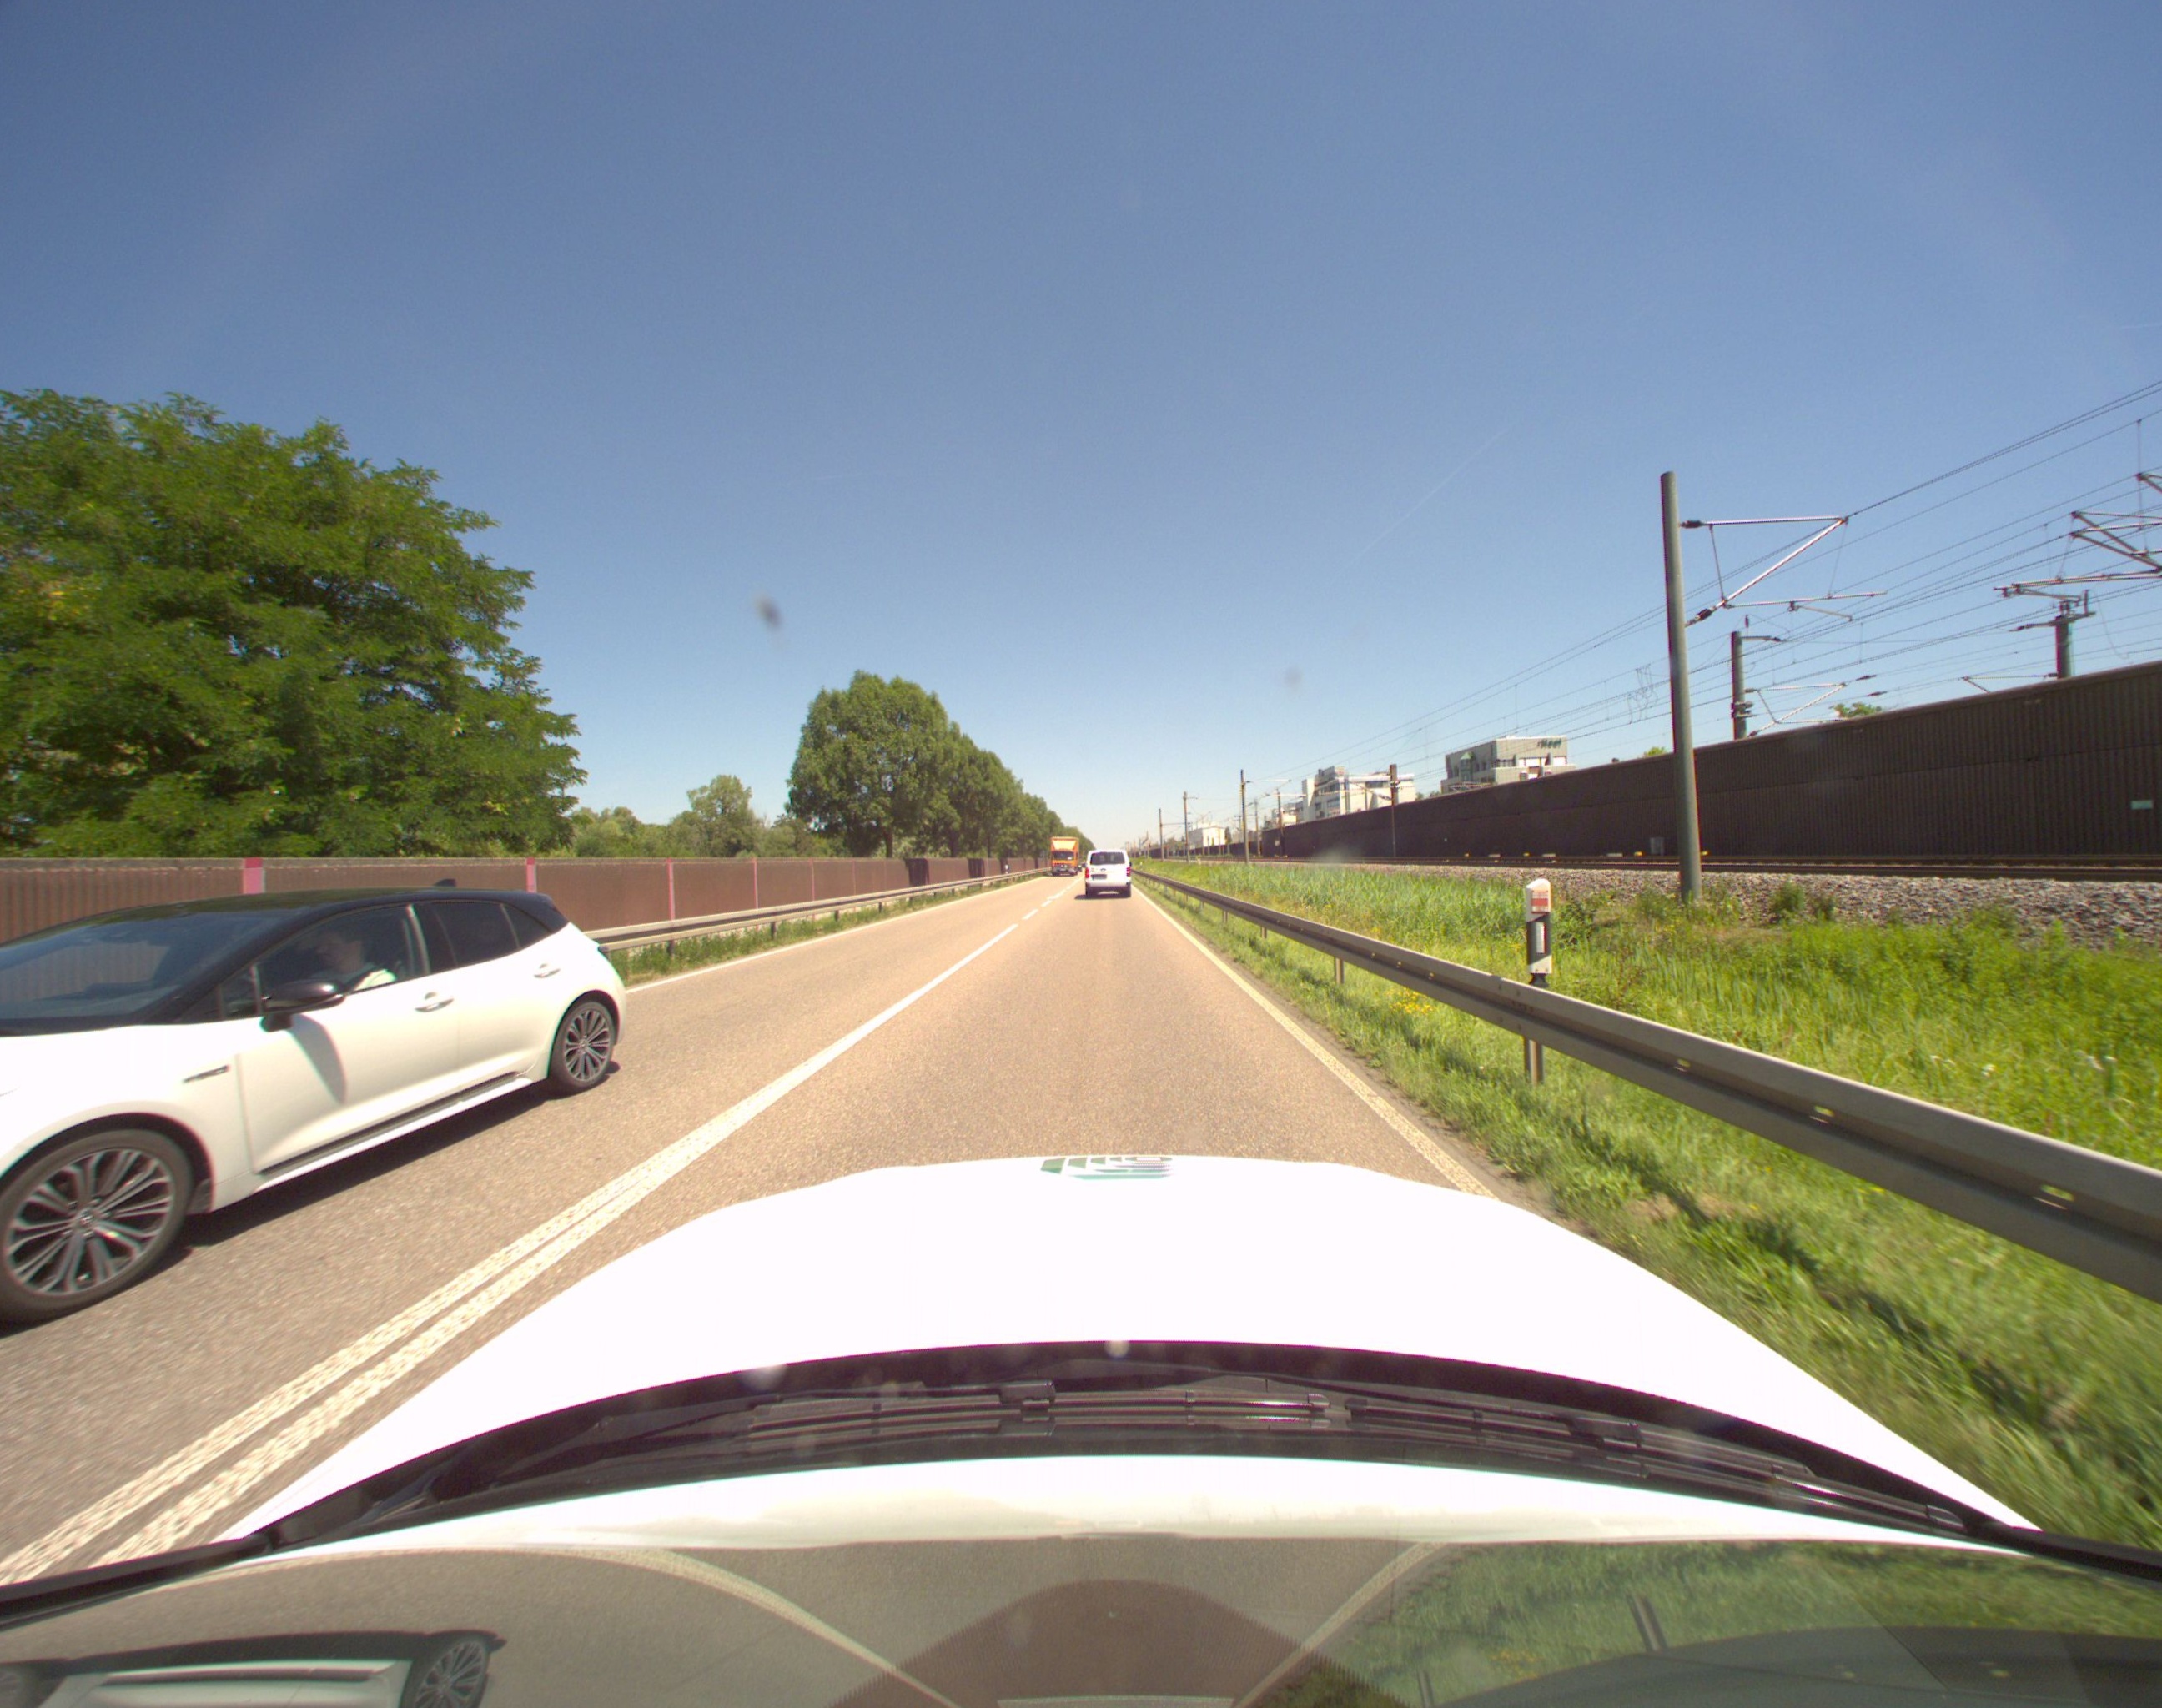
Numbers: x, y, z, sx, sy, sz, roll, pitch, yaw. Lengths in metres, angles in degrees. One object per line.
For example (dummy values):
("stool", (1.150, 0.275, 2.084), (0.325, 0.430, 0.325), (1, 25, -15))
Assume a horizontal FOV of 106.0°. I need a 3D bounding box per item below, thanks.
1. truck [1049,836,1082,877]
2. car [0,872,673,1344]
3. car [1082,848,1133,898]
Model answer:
("truck", (-1.533, 0.299, 83.761), (2.781, 3.840, 9.327), (-1, -1, 2))
("car", (-4.242, 0.869, 4.273), (1.678, 1.460, 4.619), (-1, -1, 3))
("car", (1.090, 0.775, 34.059), (1.938, 1.881, 4.882), (-1, -1, 2))
